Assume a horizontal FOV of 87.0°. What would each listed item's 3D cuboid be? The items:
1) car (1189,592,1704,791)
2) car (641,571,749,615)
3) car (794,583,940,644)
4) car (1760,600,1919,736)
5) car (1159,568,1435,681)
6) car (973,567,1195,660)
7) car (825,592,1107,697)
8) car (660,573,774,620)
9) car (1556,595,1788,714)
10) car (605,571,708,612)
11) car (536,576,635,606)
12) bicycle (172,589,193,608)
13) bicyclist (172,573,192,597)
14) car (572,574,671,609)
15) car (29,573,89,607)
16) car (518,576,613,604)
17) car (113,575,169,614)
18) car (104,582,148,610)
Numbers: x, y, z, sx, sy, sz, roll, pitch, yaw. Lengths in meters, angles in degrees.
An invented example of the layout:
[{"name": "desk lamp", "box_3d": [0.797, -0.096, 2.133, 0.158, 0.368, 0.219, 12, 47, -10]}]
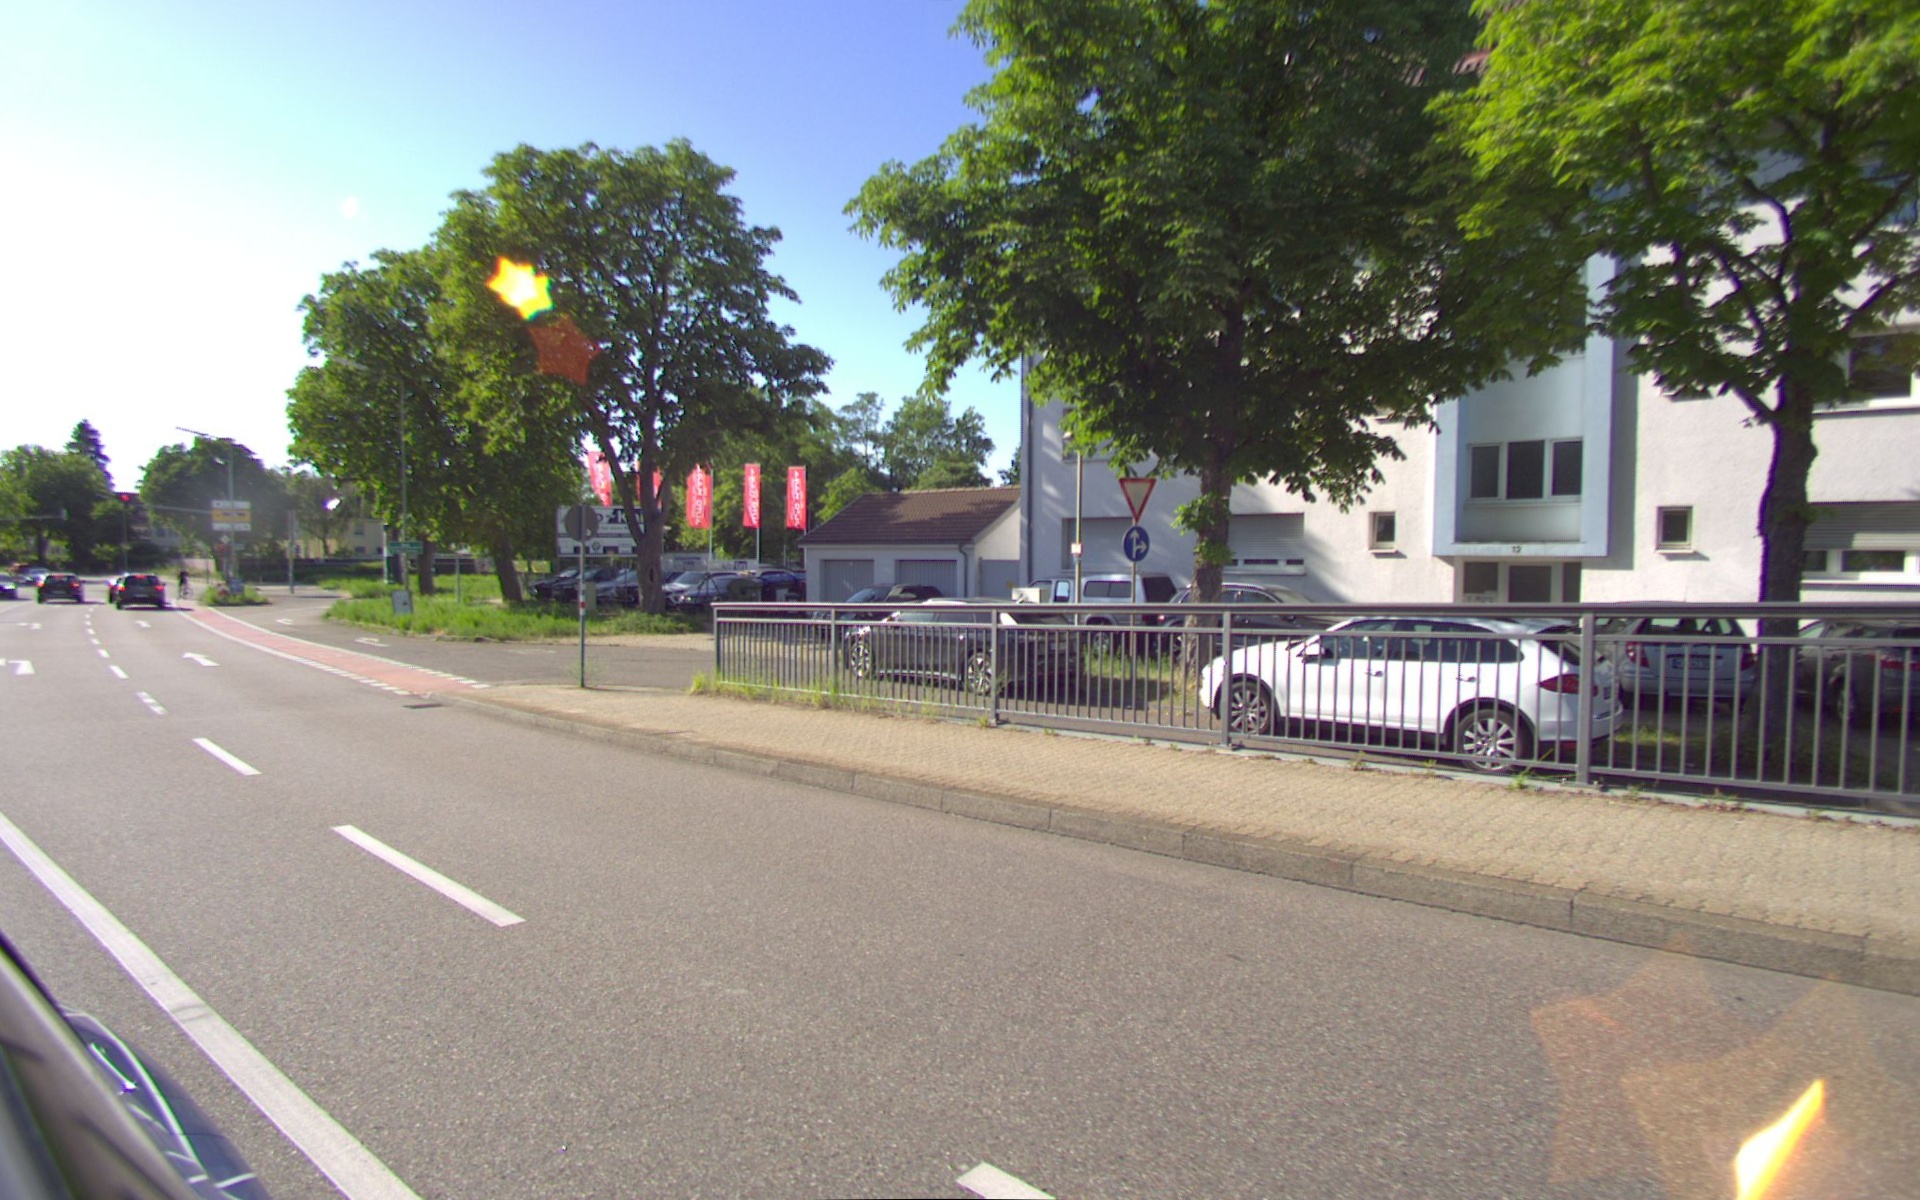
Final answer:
[{"name": "car", "box_3d": [5.578, 0.852, 12.150, 5.236, 1.741, 2.016, 2, 3, 42]}, {"name": "car", "box_3d": [-10.632, -0.324, 40.877, 1.917, 1.622, 3.954, 0, 2, 34]}, {"name": "car", "box_3d": [-2.539, 0.320, 28.404, 1.905, 1.439, 3.949, 3, 4, 38]}, {"name": "car", "box_3d": [13.048, 0.826, 13.974, 1.985, 1.610, 3.973, 0, 1, 20]}, {"name": "car", "box_3d": [6.548, 0.355, 19.982, 4.783, 1.944, 2.049, 2, 3, 40]}, {"name": "car", "box_3d": [2.753, 0.208, 23.530, 5.104, 1.944, 1.728, 2, 3, 43]}, {"name": "car", "box_3d": [-0.029, 0.667, 17.907, 4.962, 1.475, 2.015, 2, 3, 43]}, {"name": "car", "box_3d": [-8.994, -0.176, 37.865, 1.804, 1.587, 4.372, 0, 2, 25]}, {"name": "car", "box_3d": [10.856, 0.734, 15.756, 1.768, 1.521, 3.652, 0, 2, 15]}, {"name": "car", "box_3d": [-12.735, -0.398, 42.652, 1.990, 1.571, 3.964, 0, 2, 27]}, {"name": "car", "box_3d": [-17.109, -0.441, 46.411, 2.034, 1.249, 3.897, 0, 2, 27]}, {"name": "bicycle", "box_3d": [-45.581, -0.083, 59.321, 0.925, 1.024, 2.201, -2, 2, -38]}, {"name": "bicyclist", "box_3d": [-45.569, -0.873, 59.273, 0.921, 1.412, 0.824, -2, 2, -38]}, {"name": "car", "box_3d": [-14.947, -0.418, 44.843, 1.938, 1.423, 3.842, 0, 2, 29]}, {"name": "car", "box_3d": [-47.184, -0.535, 52.969, 4.000, 1.611, 1.892, 2, 0, 42]}, {"name": "car", "box_3d": [-18.914, -0.490, 48.645, 2.034, 1.249, 3.897, 0, 2, 27]}, {"name": "car", "box_3d": [-38.821, -0.307, 47.940, 1.830, 1.749, 4.276, -2, 2, -42]}, {"name": "car", "box_3d": [-44.596, -0.215, 54.156, 1.761, 1.425, 3.898, -1, 1, -39]}]
